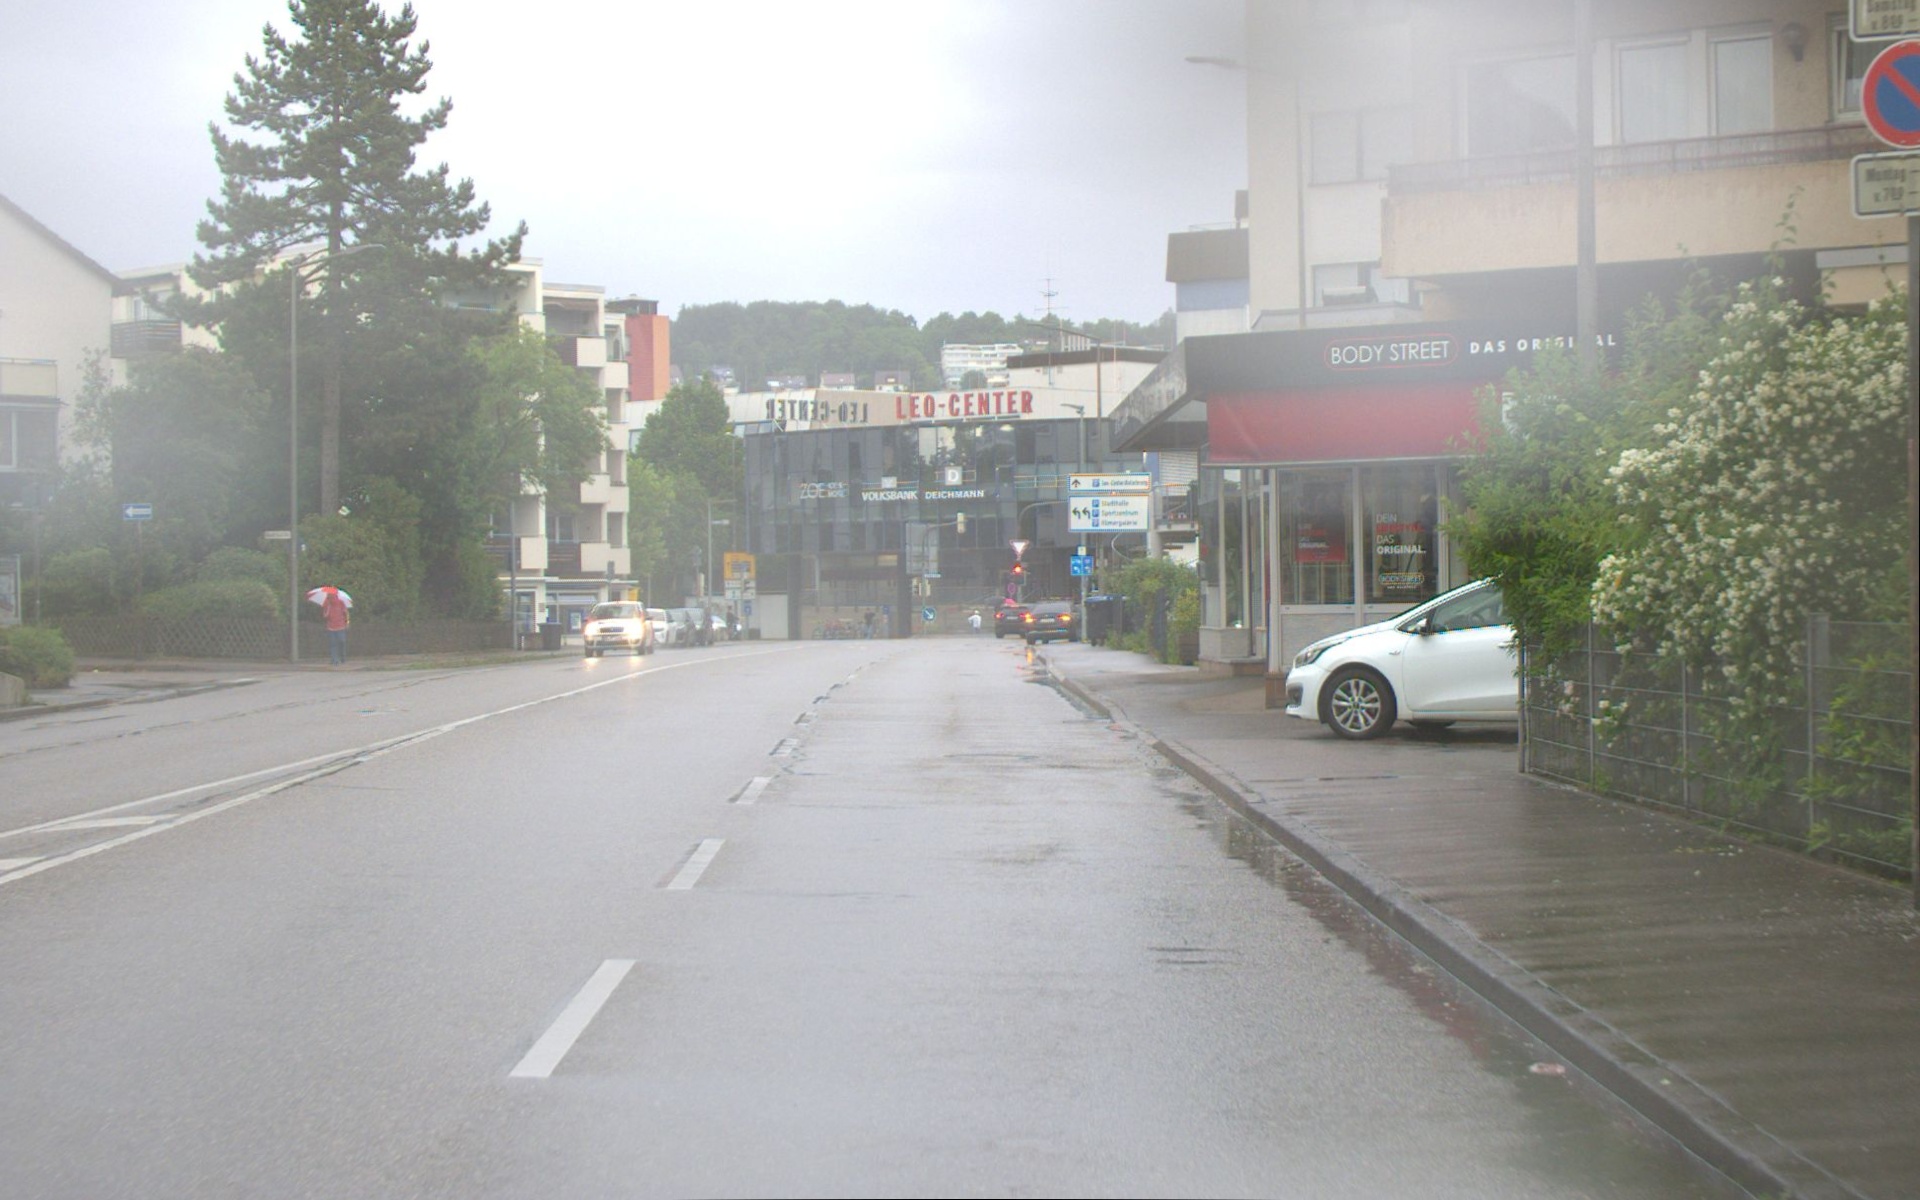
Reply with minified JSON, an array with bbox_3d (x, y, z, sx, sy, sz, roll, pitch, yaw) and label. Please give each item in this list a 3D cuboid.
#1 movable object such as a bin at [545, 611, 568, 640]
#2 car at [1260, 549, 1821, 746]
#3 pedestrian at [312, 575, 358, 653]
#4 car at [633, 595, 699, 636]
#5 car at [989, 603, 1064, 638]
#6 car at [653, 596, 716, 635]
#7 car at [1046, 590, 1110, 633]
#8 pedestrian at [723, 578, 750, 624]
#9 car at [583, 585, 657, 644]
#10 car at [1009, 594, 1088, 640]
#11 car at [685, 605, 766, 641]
[{"bbox_3d":[-13.551,0.848,115.379,0.648,0.962,0.682,-1,0,2],"label":"movable object such as a bin"},{"bbox_3d":[4.854,0.345,28.846,4.264,1.489,1.870,1,2,28],"label":"car"},{"bbox_3d":[-12.953,0.296,71.227,0.869,1.601,1.103,0,-1,-7],"label":"pedestrian"},{"bbox_3d":[-11.171,0.581,130.867,1.934,1.536,4.520,0,0,3],"label":"car"},{"bbox_3d":[2.770,0.846,142.918,1.806,1.414,3.995,-1,0,22],"label":"car"},{"bbox_3d":[-10.910,0.603,136.304,1.934,1.536,4.272,0,0,3],"label":"car"},{"bbox_3d":[4.432,0.419,128.712,1.699,1.481,3.998,-4,-1,11],"label":"car"},{"bbox_3d":[-10.018,0.032,153.861,0.749,2.007,0.920,3,0,23],"label":"pedestrian"},{"bbox_3d":[-9.156,0.368,92.805,1.697,1.404,4.001,-3,1,-2],"label":"car"},{"bbox_3d":[3.187,0.628,123.370,1.994,1.528,4.644,0,-1,12],"label":"car"},{"bbox_3d":[-11.751,1.121,171.803,1.993,1.507,4.433,3,1,-35],"label":"car"}]
